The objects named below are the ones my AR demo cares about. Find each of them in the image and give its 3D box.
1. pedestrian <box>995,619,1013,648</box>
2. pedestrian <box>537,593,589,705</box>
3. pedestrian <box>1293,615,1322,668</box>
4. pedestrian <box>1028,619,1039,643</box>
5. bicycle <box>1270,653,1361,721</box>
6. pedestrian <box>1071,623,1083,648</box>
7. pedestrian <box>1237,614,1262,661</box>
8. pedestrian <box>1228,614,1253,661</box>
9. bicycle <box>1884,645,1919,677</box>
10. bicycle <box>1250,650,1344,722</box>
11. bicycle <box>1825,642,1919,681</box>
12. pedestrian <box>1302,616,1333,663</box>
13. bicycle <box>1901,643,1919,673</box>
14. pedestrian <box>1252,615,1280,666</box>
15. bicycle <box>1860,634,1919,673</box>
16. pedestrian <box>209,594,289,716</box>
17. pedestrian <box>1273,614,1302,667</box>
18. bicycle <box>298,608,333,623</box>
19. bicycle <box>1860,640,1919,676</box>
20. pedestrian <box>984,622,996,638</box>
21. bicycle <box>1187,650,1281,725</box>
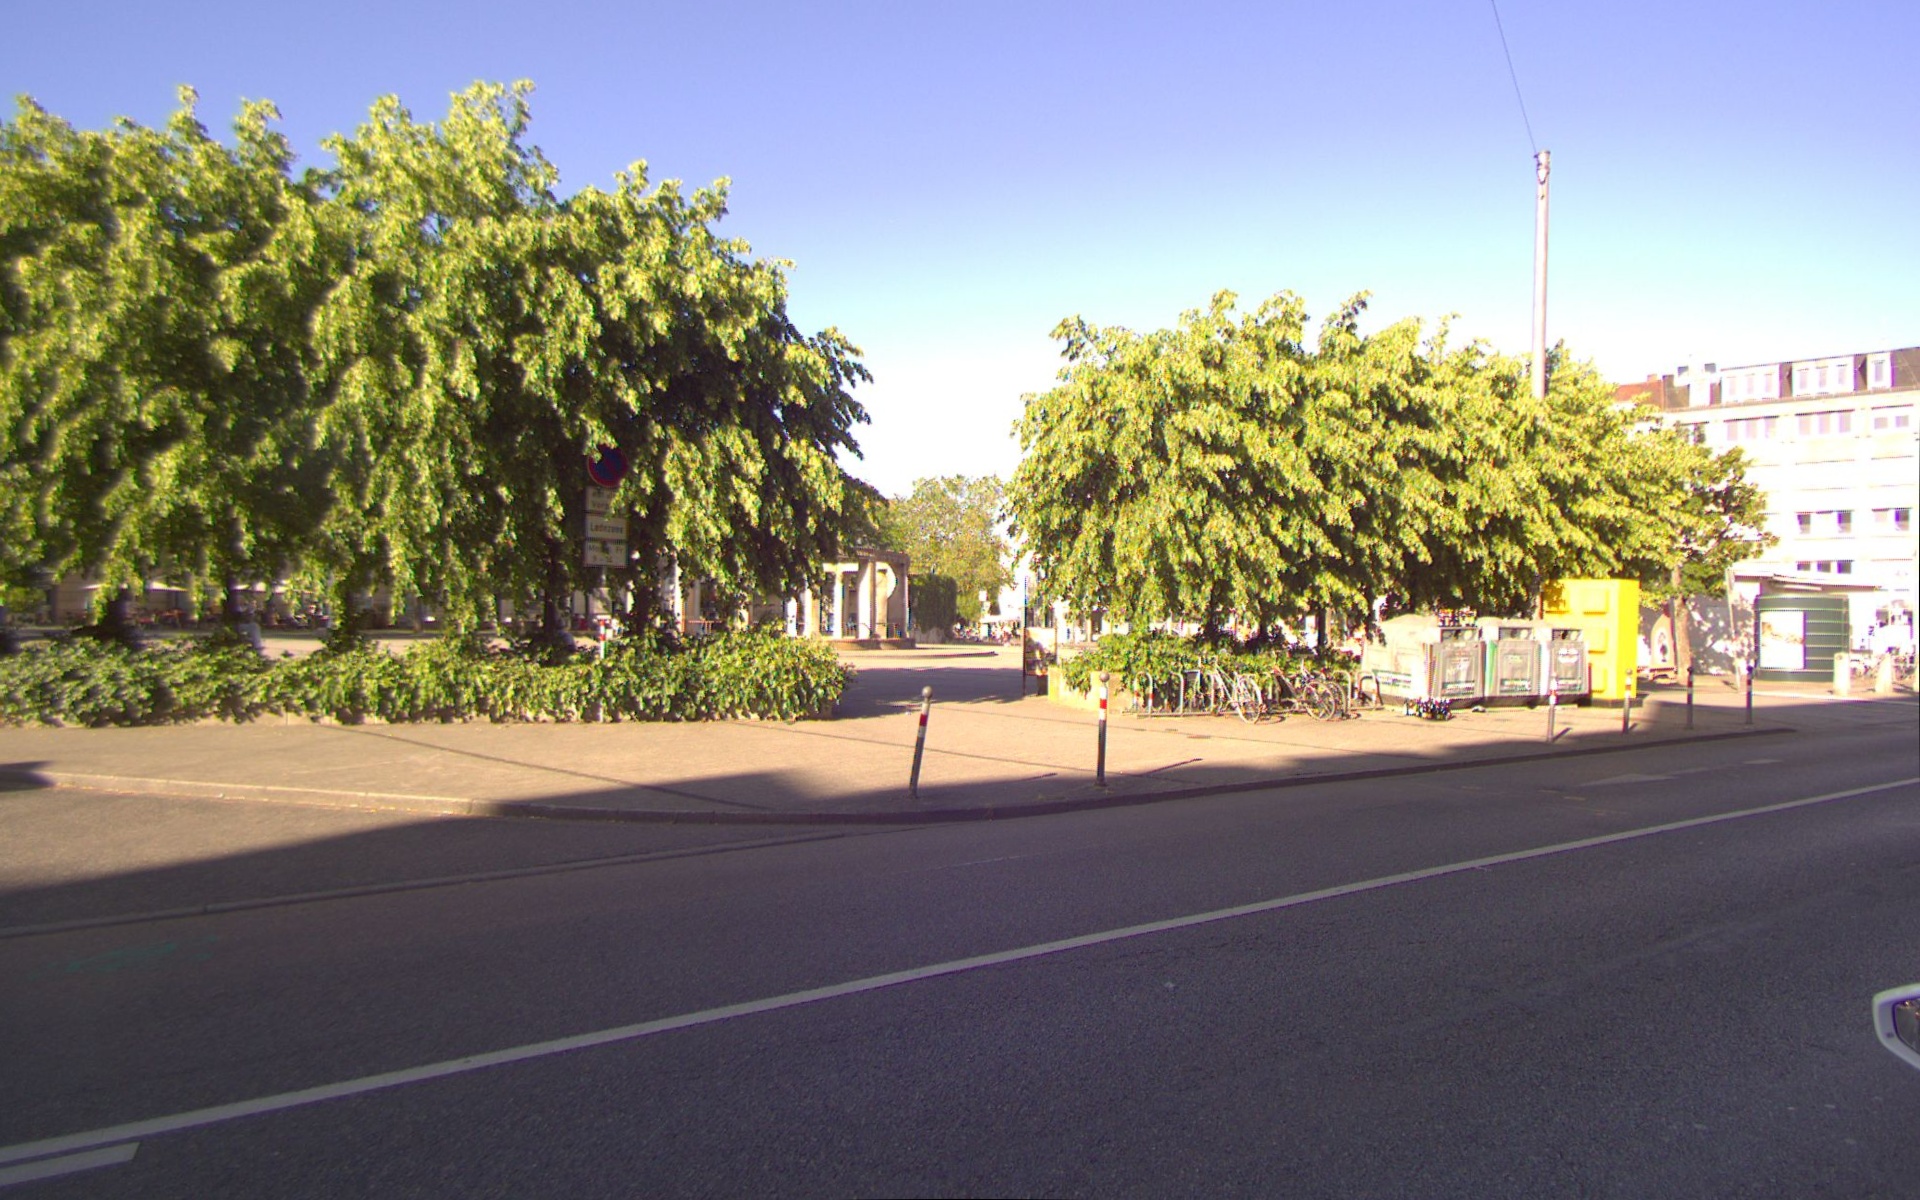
[{"bbox_3d":[3.111,2.358,70.586,0.893,2.040,0.986,1,0,-27],"label":"pedestrian"},{"bbox_3d":[-6.560,0.795,16.619,0.725,1.781,0.895,1,-1,-19],"label":"pedestrian"},{"bbox_3d":[13.720,1.623,39.707,0.886,2.040,0.993,1,0,7],"label":"pedestrian"},{"bbox_3d":[6.562,2.756,89.251,0.886,2.040,1.403,1,-1,1],"label":"pedestrian"},{"bbox_3d":[5.793,1.399,16.433,0.425,0.971,1.518,0,0,-28],"label":"bicycle"},{"bbox_3d":[9.999,3.013,85.876,0.886,2.040,1.403,1,-1,12],"label":"pedestrian"},{"bbox_3d":[12.913,1.653,44.822,0.886,2.040,0.993,1,0,7],"label":"pedestrian"},{"bbox_3d":[12.263,1.638,43.988,0.886,2.040,0.993,1,0,7],"label":"pedestrian"},{"bbox_3d":[36.748,2.326,38.022,0.834,1.171,2.517,1,-1,-34],"label":"bicycle"},{"bbox_3d":[5.380,1.356,16.122,0.425,1.036,1.561,1,-1,-28],"label":"bicycle"},{"bbox_3d":[30.899,2.055,33.861,0.833,1.171,2.493,1,-1,-31],"label":"bicycle"},{"bbox_3d":[15.648,1.710,43.999,0.887,2.040,1.221,1,-1,-2],"label":"pedestrian"},{"bbox_3d":[38.672,2.313,39.501,0.834,1.171,2.308,1,-1,-34],"label":"bicycle"},{"bbox_3d":[12.389,1.625,40.719,0.886,2.040,0.993,1,0,7],"label":"pedestrian"},{"bbox_3d":[34.475,1.942,36.515,0.913,1.341,2.461,1,-1,-35],"label":"bicycle"},{"bbox_3d":[-10.758,0.816,15.230,0.725,1.781,0.895,1,-1,-19],"label":"pedestrian"},{"bbox_3d":[12.945,1.601,39.757,0.886,2.040,0.993,1,0,7],"label":"pedestrian"},{"bbox_3d":[-42.671,1.051,66.513,0.580,0.966,1.898,1,-1,39],"label":"bicycle"},{"bbox_3d":[33.115,2.035,35.026,0.833,1.171,2.449,1,-1,-31],"label":"bicycle"},{"bbox_3d":[3.671,3.663,122.375,1.230,1.936,1.236,1,0,-10],"label":"pedestrian"},{"bbox_3d":[4.211,1.323,15.539,0.425,1.031,1.590,1,0,-28],"label":"bicycle"}]
